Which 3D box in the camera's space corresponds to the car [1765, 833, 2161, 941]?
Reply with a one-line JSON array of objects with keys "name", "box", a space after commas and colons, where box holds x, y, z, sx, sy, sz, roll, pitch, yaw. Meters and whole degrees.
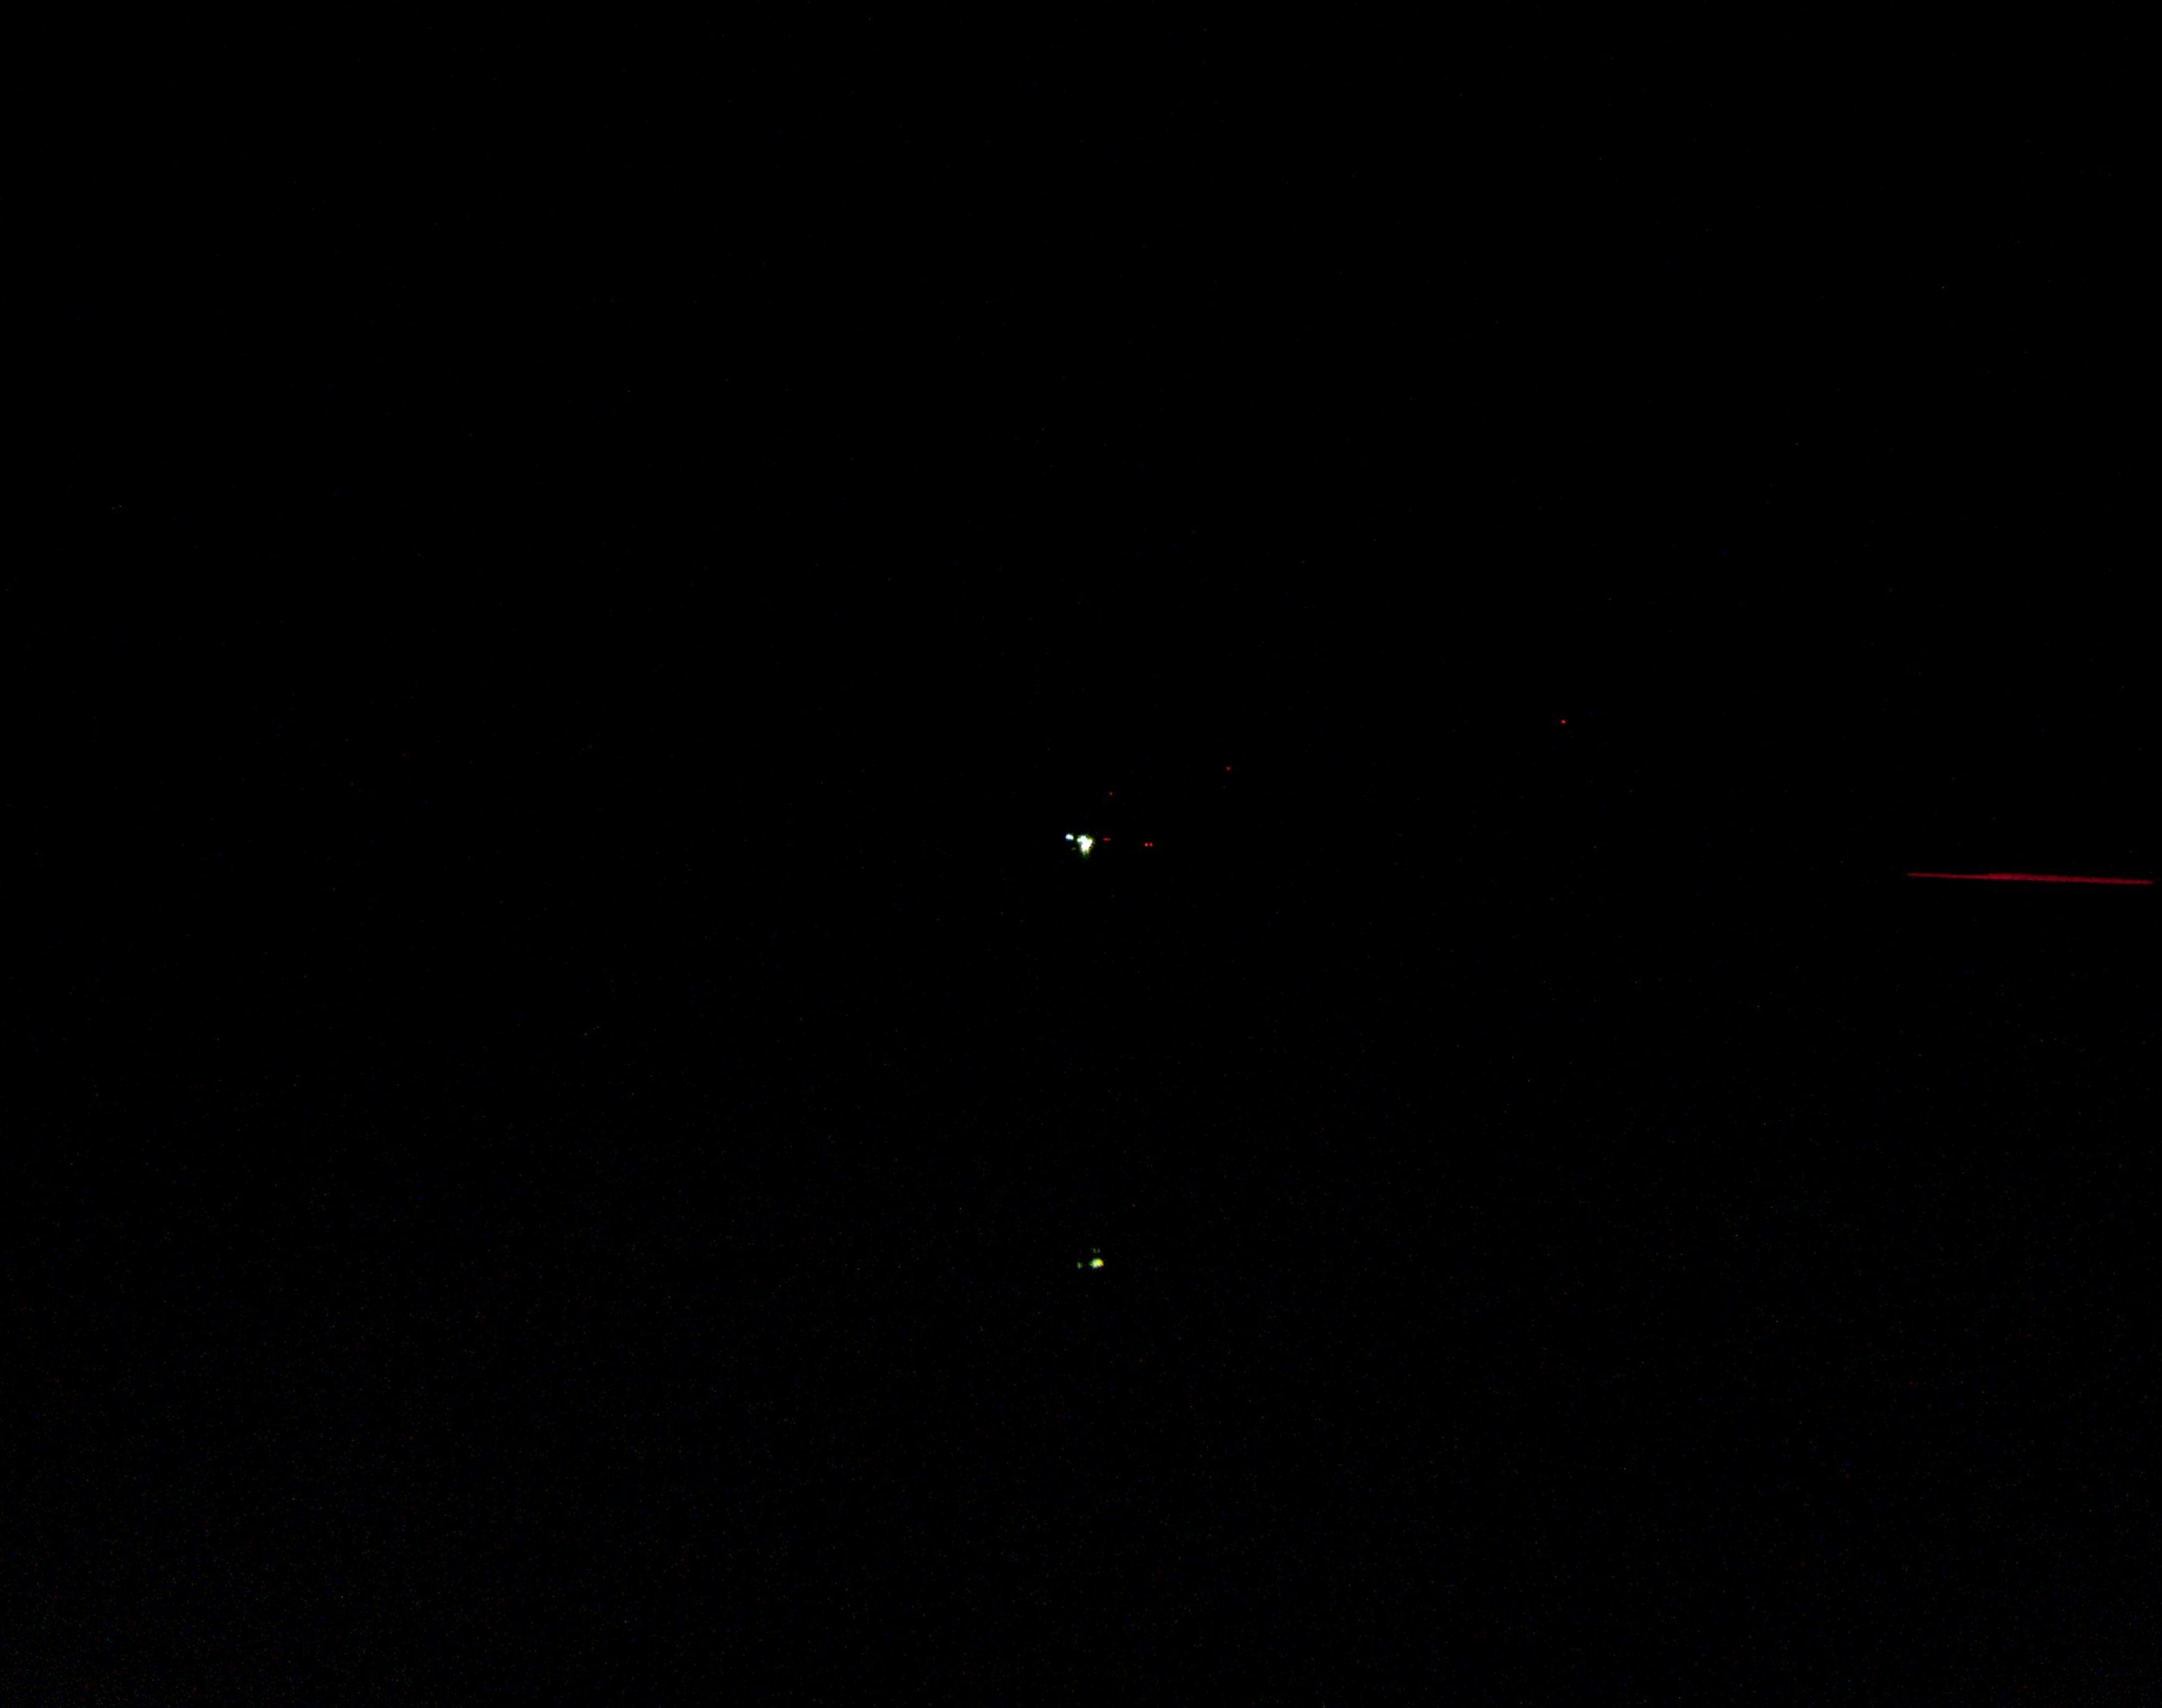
[{"name": "car", "box": [15.641, 0.478, 13.890, 1.937, 1.595, 4.954, -1, 1, 2]}]
